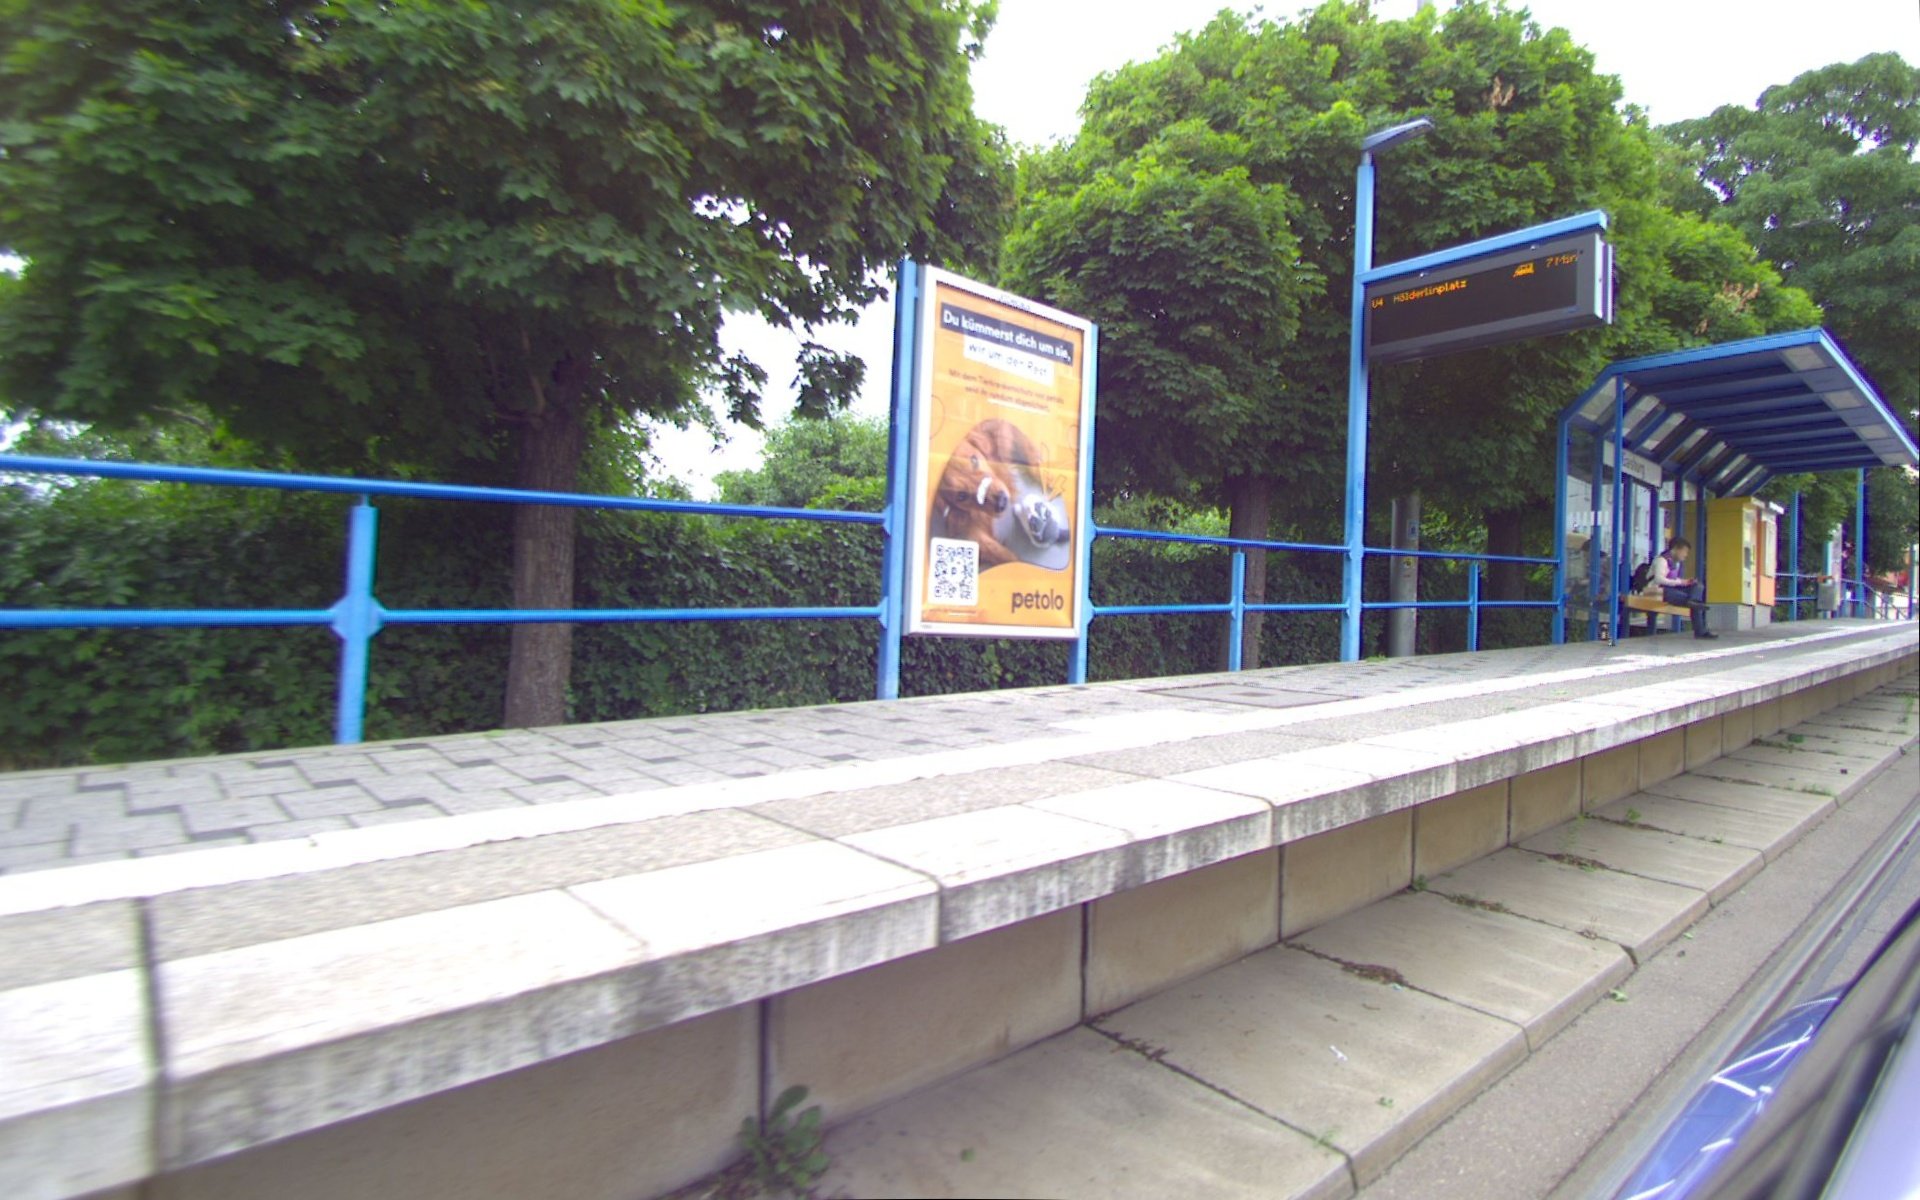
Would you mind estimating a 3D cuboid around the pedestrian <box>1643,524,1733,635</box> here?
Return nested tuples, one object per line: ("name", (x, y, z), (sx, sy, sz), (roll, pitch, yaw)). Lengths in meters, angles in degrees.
("pedestrian", (9.048, -0.248, 12.578), (0.645, 1.331, 0.780), (0, 0, -40))
